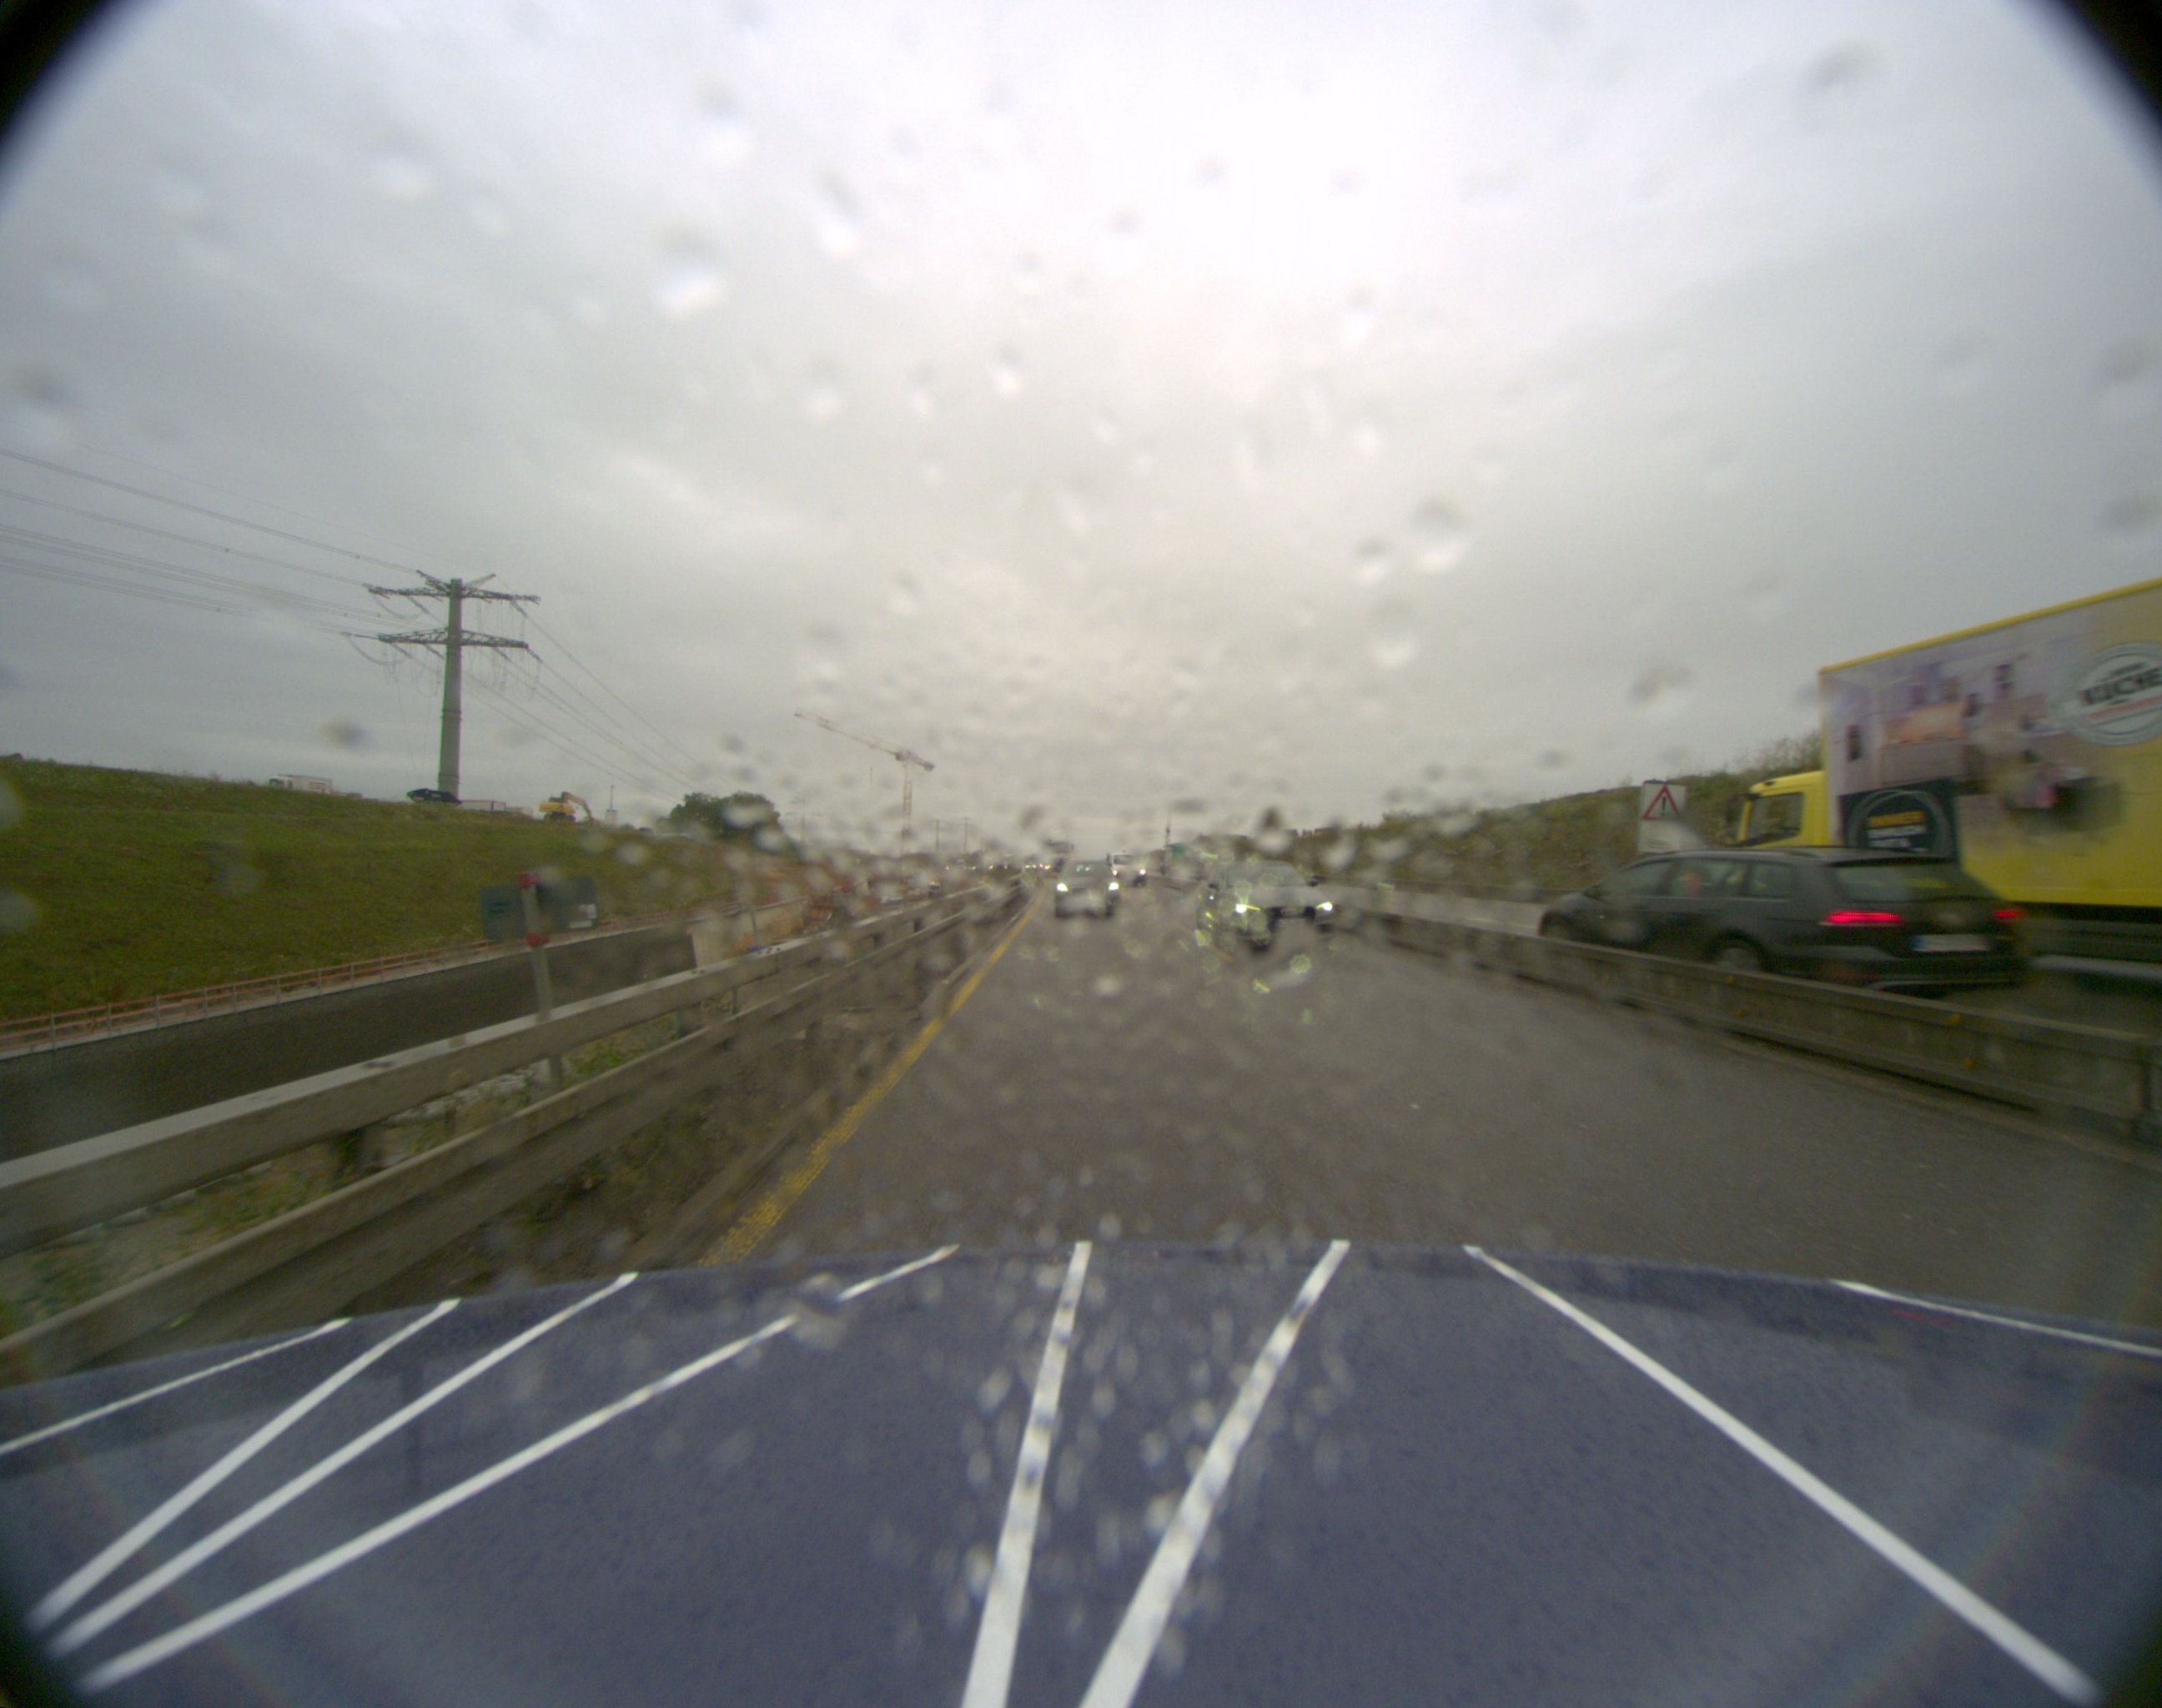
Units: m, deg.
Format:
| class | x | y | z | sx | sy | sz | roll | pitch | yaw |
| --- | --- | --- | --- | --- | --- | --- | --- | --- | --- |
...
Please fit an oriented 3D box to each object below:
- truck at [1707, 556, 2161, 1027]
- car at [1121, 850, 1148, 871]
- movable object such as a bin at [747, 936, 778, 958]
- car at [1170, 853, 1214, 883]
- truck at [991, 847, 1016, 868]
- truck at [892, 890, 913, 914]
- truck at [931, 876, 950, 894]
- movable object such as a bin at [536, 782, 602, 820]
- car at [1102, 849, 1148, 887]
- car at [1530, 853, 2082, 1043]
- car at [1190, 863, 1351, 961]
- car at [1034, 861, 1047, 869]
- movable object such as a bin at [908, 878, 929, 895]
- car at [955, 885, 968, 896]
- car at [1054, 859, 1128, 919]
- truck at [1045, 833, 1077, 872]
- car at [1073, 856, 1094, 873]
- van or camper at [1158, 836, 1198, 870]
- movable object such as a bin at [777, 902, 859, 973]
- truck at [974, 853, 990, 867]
| class | x | y | z | sx | sy | sz | roll | pitch | yaw |
| --- | --- | --- | --- | --- | --- | --- | --- | --- | --- |
| truck | 10.516 | -0.557 | 6.836 | 2.775 | 3.973 | 8.422 | -2 | 0 | 0 |
| car | 4.924 | 0.582 | 71.038 | 2.006 | 1.876 | 5.273 | -3 | 0 | -1 |
| movable object such as a bin | -37.048 | 10.853 | 88.589 | 2.524 | 1.900 | 3.254 | -4 | 1 | -9 |
| car | 6.380 | 0.766 | 44.115 | 1.765 | 1.588 | 3.999 | -3 | 0 | -2 |
| truck | -17.867 | 0.793 | 174.174 | 4.322 | 4.319 | 13.395 | -3 | 0 | -11 |
| truck | -32.534 | 8.673 | 139.020 | 2.711 | 3.591 | 9.066 | 0 | 1 | -7 |
| truck | -33.202 | 7.188 | 179.744 | 3.362 | 3.521 | 8.901 | -1 | 2 | -4 |
| movable object such as a bin | -64.781 | -6.590 | 96.371 | 3.108 | 4.181 | 8.176 | -1 | 0 | -3 |
| car | 2.412 | 0.733 | 42.703 | 2.070 | 1.933 | 5.155 | -2 | 0 | -2 |
| car | 6.846 | 0.731 | 7.959 | 1.872 | 1.398 | 4.115 | -3 | 0 | 1 |
| car | 3.178 | 0.914 | 13.615 | 1.805 | 1.375 | 4.087 | -2 | 0 | -1 |
| car | -8.102 | 2.174 | 151.256 | 1.791 | 1.646 | 3.996 | -3 | 0 | -13 |
| movable object such as a bin | -36.853 | 7.279 | 172.713 | 3.517 | 3.405 | 6.650 | -2 | 1 | -2 |
| car | -27.692 | 8.407 | 176.442 | 1.999 | 2.002 | 3.999 | -15 | 1 | -3 |
| car | 0.194 | 0.925 | 21.742 | 1.874 | 1.481 | 4.260 | -2 | 0 | -2 |
| truck | -2.015 | -0.175 | 73.040 | 2.857 | 3.462 | 8.641 | -2 | 0 | -3 |
| car | 0.298 | 1.137 | 84.568 | 1.790 | 1.744 | 3.997 | -3 | 0 | -7 |
| van or camper | 8.479 | -0.055 | 67.054 | 2.106 | 2.801 | 5.940 | -3 | 0 | -5 |
| movable object such as a bin | -28.163 | 8.741 | 82.342 | 4.907 | 5.639 | 12.080 | -4 | 3 | -3 |
| truck | -28.786 | 1.806 | 220.872 | 3.549 | 3.870 | 8.326 | -3 | 0 | -13 |
